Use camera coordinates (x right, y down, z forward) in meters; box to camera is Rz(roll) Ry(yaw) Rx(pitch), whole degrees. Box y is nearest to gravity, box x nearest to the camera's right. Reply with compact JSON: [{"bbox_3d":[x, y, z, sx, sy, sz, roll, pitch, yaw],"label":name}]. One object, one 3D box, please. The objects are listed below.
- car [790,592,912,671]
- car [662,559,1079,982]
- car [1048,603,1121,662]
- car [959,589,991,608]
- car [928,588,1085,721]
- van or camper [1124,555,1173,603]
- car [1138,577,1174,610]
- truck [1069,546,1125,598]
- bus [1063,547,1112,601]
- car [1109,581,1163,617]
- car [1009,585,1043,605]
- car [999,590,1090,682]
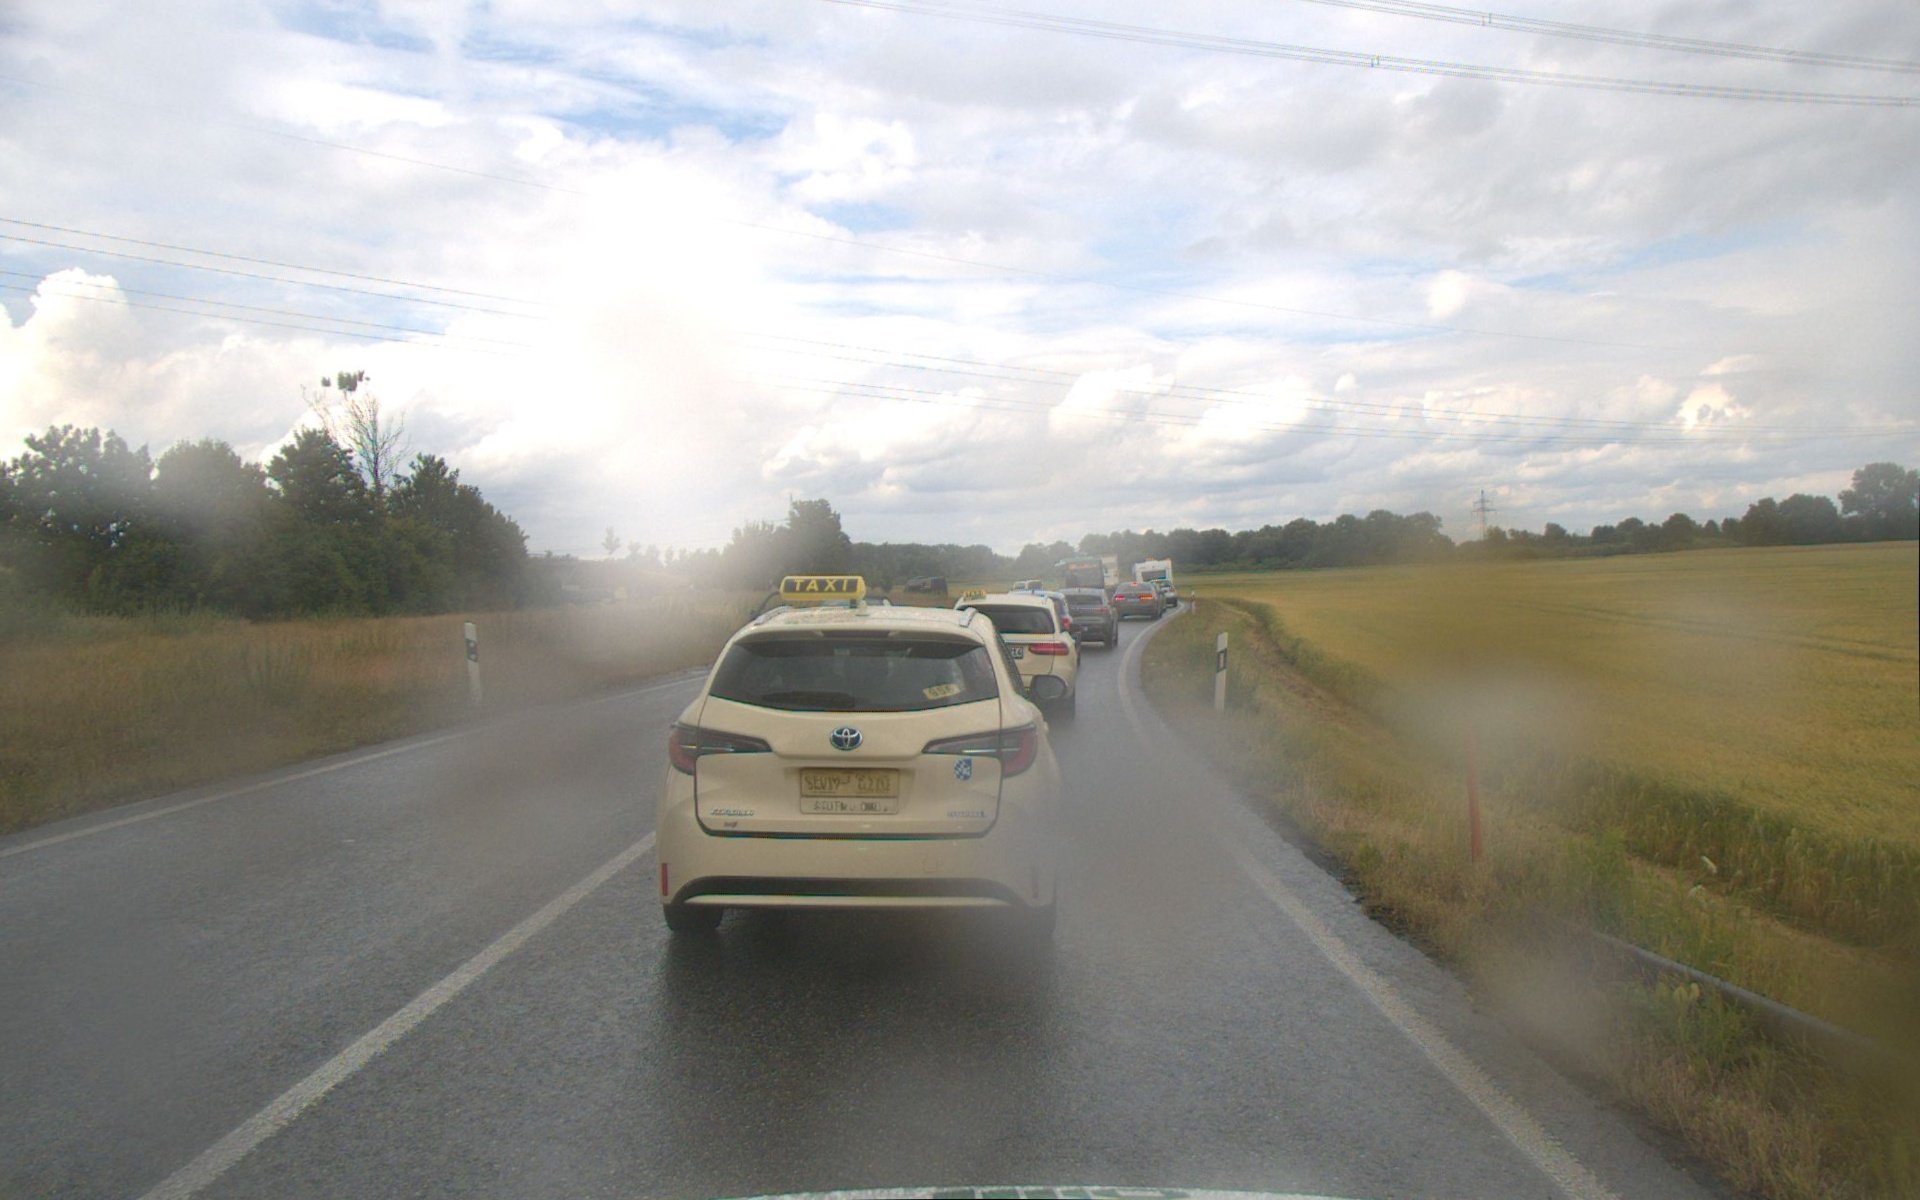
[{"bbox_3d":[-2.065,0.601,32.481,1.595,1.421,4.323,1,-1,7],"label":"car"},{"bbox_3d":[-0.270,0.666,8.181,1.579,1.589,3.739,1,-1,2],"label":"car"},{"bbox_3d":[3.258,0.829,42.772,1.578,1.438,3.741,1,-1,9],"label":"car"},{"bbox_3d":[1.525,-0.156,169.175,1.816,1.891,4.058,1,-1,-24],"label":"car"},{"bbox_3d":[0.691,0.618,21.500,1.802,1.518,4.610,1,1,4],"label":"car"},{"bbox_3d":[11.959,-1.348,105.514,2.484,2.946,6.744,0,1,1],"label":"van or camper"},{"bbox_3d":[10.633,-0.336,89.762,1.918,1.759,3.741,1,-1,7],"label":"car"},{"bbox_3d":[11.010,-2.193,133.402,3.067,3.920,7.374,1,-1,-7],"label":"truck"},{"bbox_3d":[8.466,-1.701,110.957,2.701,3.355,12.505,0,1,2],"label":"bus"},{"bbox_3d":[7.267,-0.021,67.928,1.918,1.438,4.396,1,-1,10],"label":"car"},{"bbox_3d":[6.104,-0.473,153.480,1.854,1.804,4.137,1,-1,-19],"label":"car"},{"bbox_3d":[1.708,0.685,32.543,1.578,1.688,3.741,1,-1,6],"label":"car"}]
